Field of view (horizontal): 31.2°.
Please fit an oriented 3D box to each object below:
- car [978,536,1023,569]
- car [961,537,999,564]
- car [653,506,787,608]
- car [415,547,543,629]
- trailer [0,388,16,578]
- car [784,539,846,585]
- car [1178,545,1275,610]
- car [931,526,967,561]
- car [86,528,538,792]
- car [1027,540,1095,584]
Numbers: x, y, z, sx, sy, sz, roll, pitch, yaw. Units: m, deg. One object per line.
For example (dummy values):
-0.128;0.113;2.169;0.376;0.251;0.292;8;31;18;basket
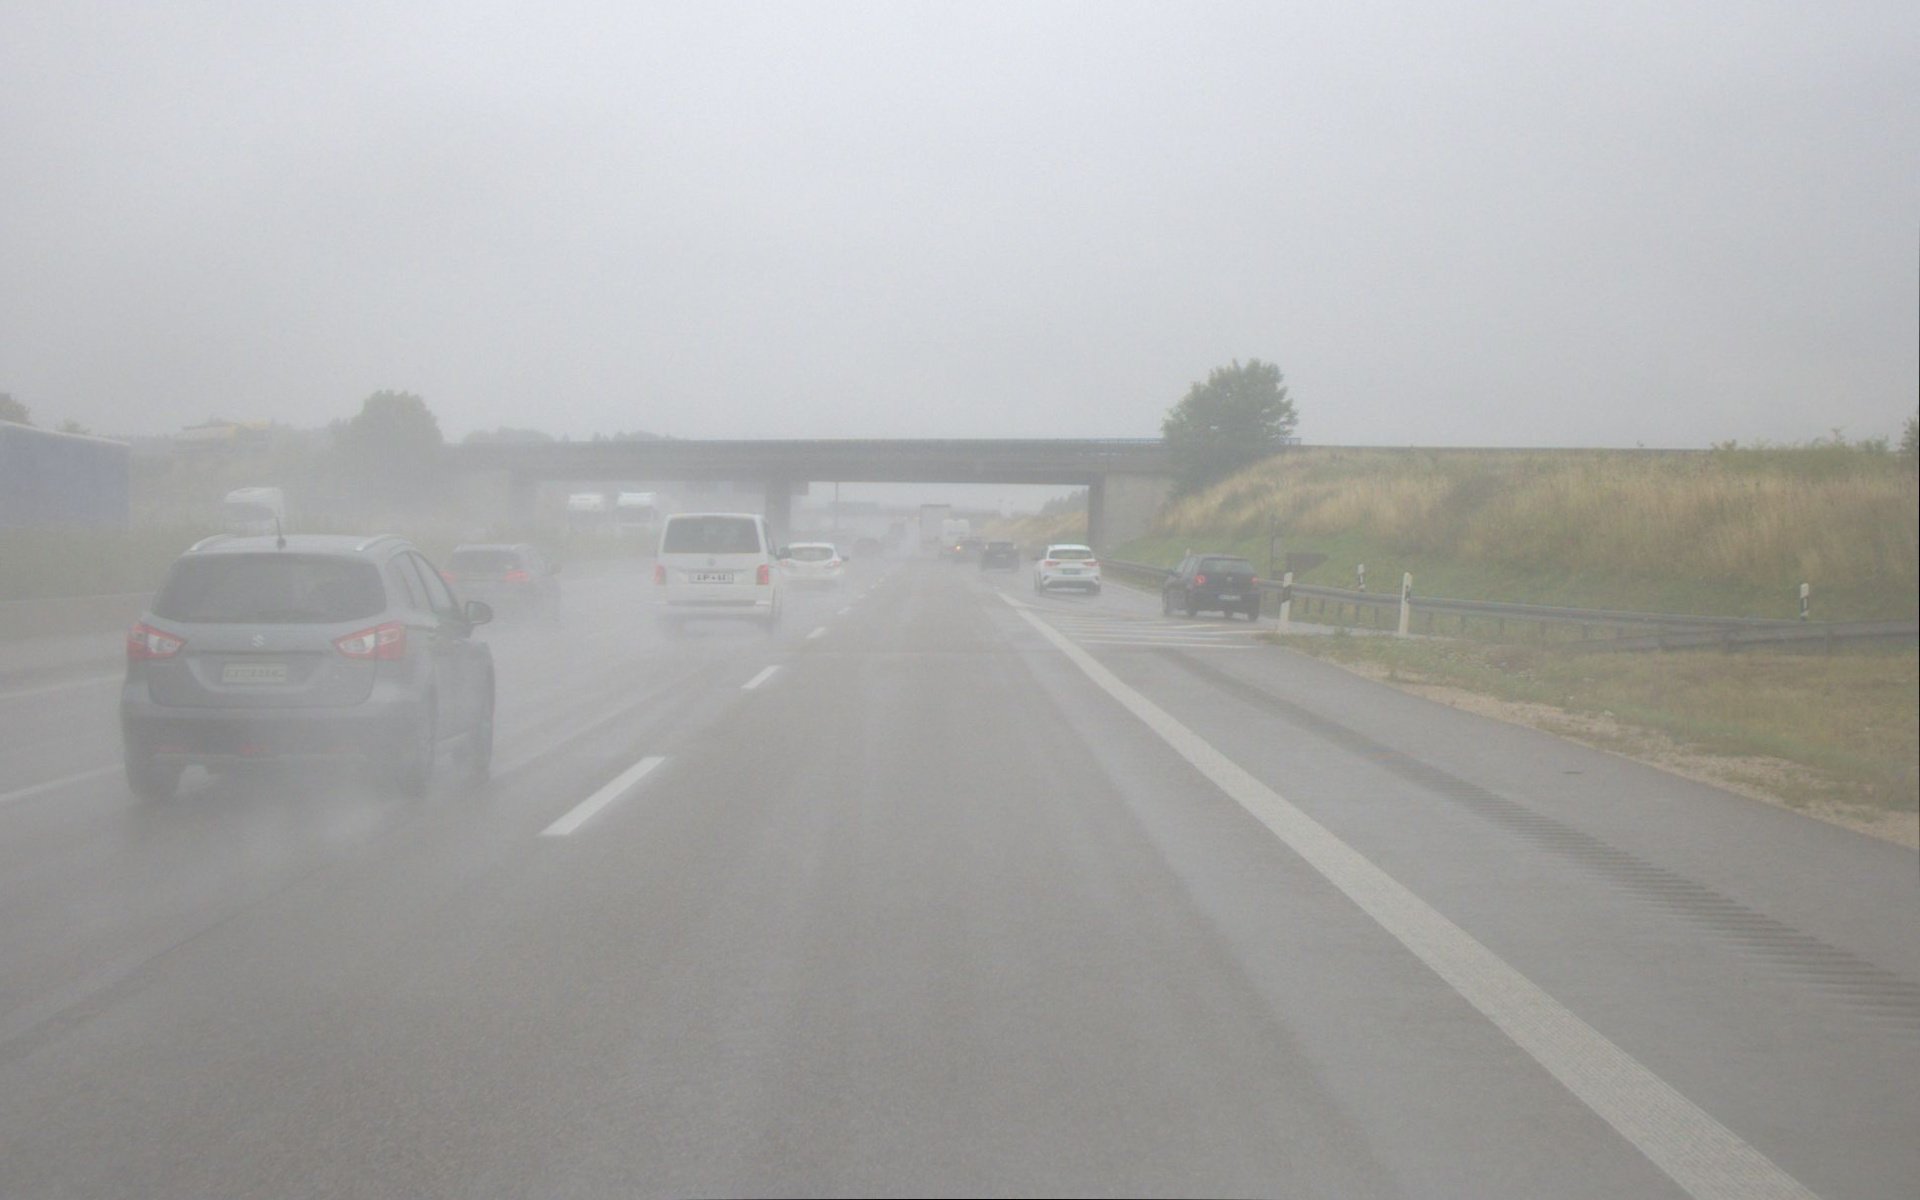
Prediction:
1.839;-2.169;156.386;1.800;1.503;4.001;0;1;-3;car
1.061;-2.681;185.207;1.993;1.459;4.000;0;1;-1;car
-3.836;-0.686;55.507;1.897;1.580;4.000;1;1;0;car
-8.260;-0.219;59.266;1.612;1.349;4.000;1;1;0;car
-19.030;-2.038;58.604;3.257;3.444;9.443;0;1;0;trailer
-3.840;-0.996;91.157;1.468;1.204;2.991;0;0;1;car
6.061;-0.534;78.532;1.731;1.416;3.659;0;1;-3;car
-0.693;-3.493;212.758;1.993;2.094;4.001;0;1;-3;car
-4.004;0.305;22.062;1.846;1.508;4.756;0;1;2;car
3.018;-1.134;102.902;1.993;1.262;4.000;1;1;2;car
